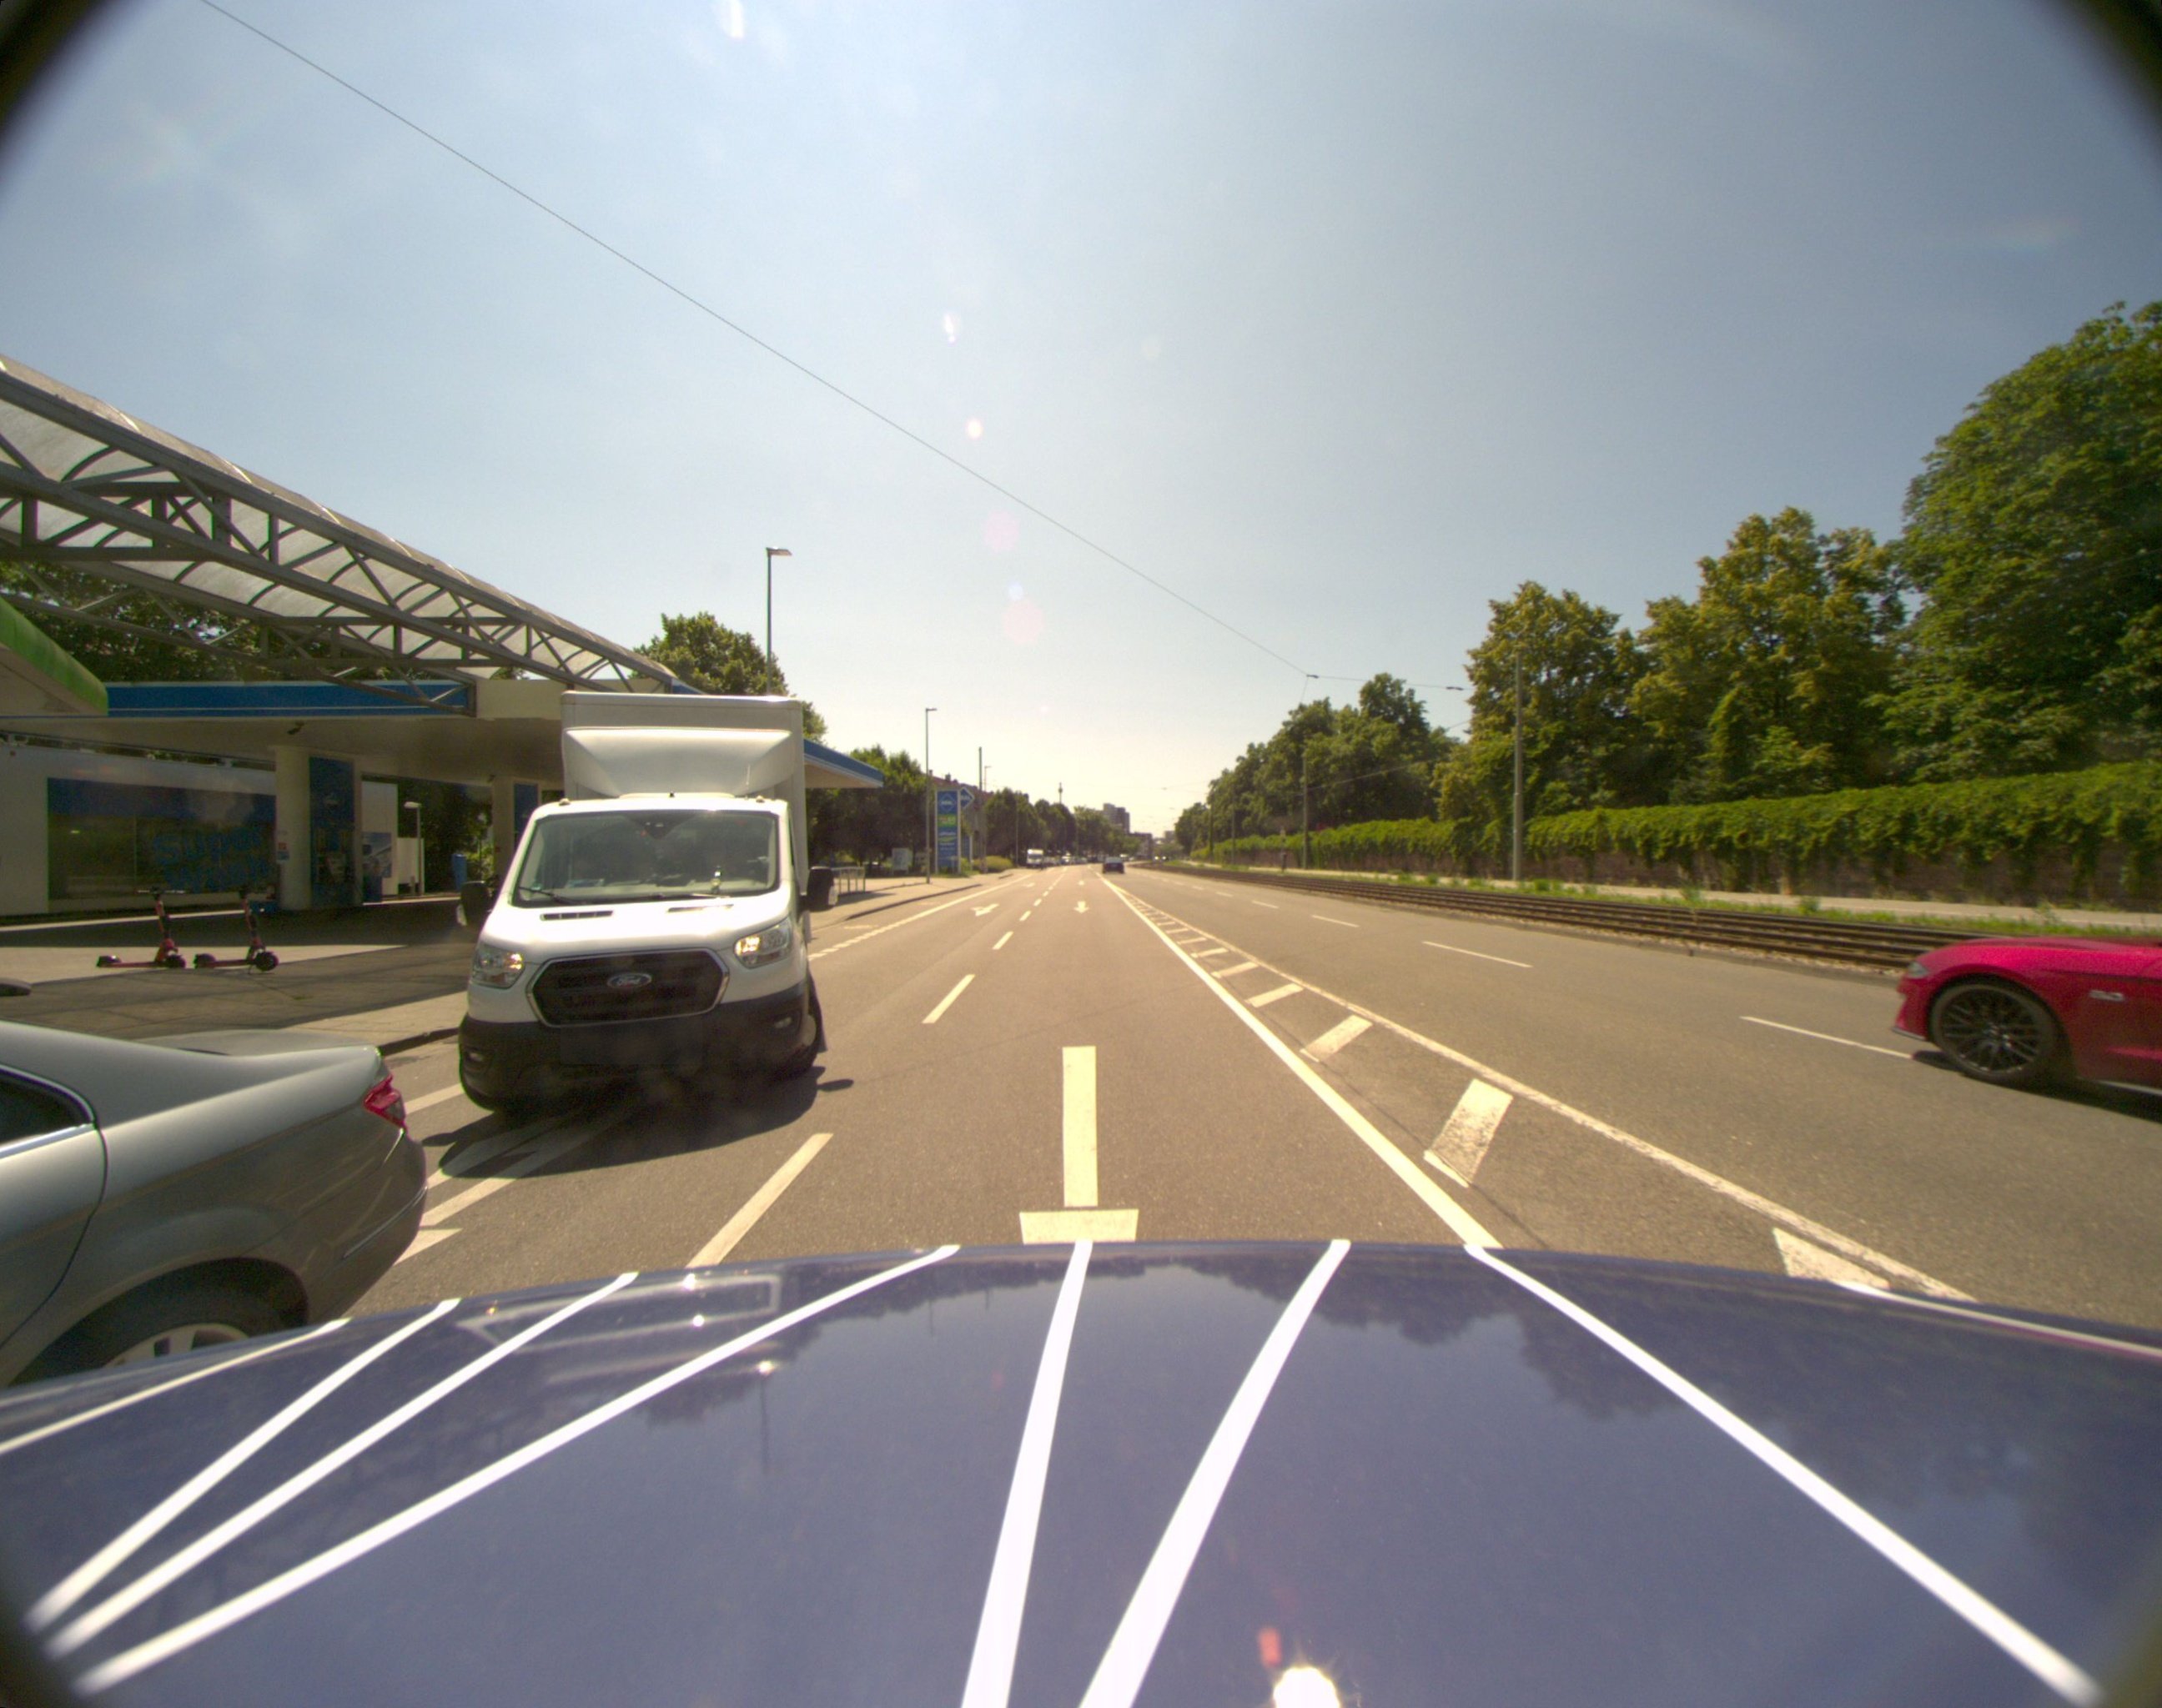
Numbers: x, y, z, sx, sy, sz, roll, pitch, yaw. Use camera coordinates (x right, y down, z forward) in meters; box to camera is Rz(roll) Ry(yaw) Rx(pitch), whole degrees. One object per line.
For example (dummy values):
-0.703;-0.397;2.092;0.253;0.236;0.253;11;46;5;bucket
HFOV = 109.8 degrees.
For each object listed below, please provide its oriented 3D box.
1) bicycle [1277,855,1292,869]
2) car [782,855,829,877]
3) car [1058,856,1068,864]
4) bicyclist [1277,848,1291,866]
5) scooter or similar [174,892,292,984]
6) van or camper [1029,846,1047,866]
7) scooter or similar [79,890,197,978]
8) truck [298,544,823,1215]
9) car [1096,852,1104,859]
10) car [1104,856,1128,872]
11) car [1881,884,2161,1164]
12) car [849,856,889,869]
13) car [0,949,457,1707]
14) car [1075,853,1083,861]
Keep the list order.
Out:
17.364;0.713;64.971;0.830;1.149;2.686;-1;0;6;bicycle
-22.501;0.960;62.238;1.998;1.653;4.411;-1;1;5;car
-3.429;1.187;146.890;1.725;1.586;4.000;-1;0;2;car
17.369;0.249;65.116;0.996;1.477;1.000;-1;1;6;bicyclist
-11.878;1.168;10.655;1.176;1.233;0.411;-1;1;1;scooter or similar
-5.519;0.258;98.070;2.126;2.469;5.992;2;0;-1;van or camper
-13.132;1.103;10.594;1.138;1.170;0.384;-1;1;1;scooter or similar
-4.087;0.134;7.908;2.430;3.372;7.820;-1;0;-20;truck
5.031;0.444;198.128;1.998;1.718;4.000;-1;0;0;car
3.089;0.844;67.202;1.798;1.391;4.447;0;0;-2;car
6.509;0.900;2.995;1.989;1.350;4.538;-1;0;1;car
-25.730;1.023;92.199;4.221;1.512;2.001;-1;0;8;car
-2.977;1.045;0.268;1.800;1.441;4.418;-1;0;1;car
-0.470;0.679;166.929;1.807;1.585;4.000;-1;0;0;car
